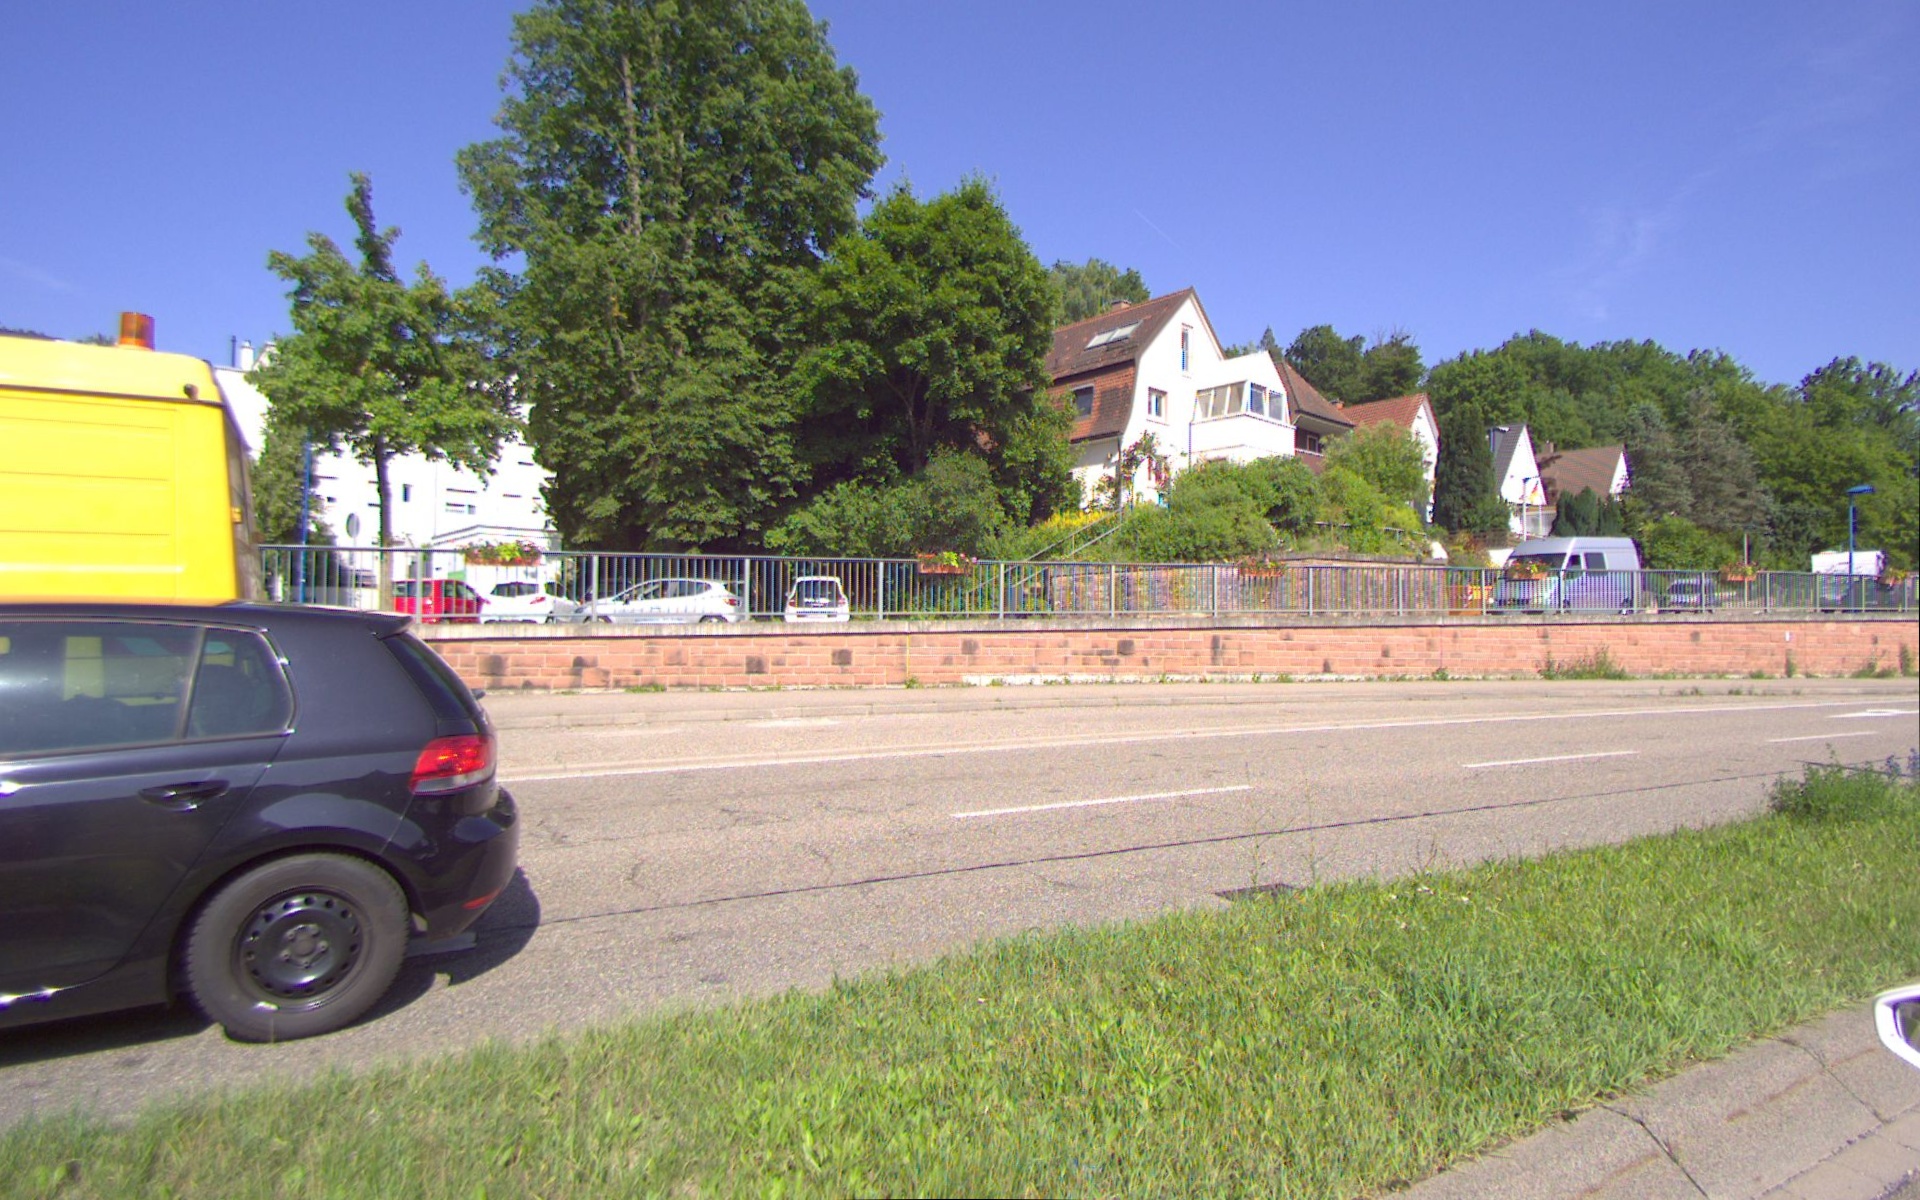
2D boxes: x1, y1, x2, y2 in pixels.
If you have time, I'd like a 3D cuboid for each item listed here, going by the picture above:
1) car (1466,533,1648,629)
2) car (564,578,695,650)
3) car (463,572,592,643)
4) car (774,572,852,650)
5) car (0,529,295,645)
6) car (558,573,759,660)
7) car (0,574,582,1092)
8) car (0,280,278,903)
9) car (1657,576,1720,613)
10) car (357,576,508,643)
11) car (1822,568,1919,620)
[{"bbox_3d":[16.851,-0.514,28.240,5.723,2.477,2.080,0,2,-34],"label":"car"},{"bbox_3d":[-8.450,0.288,26.067,1.960,1.694,4.000,1,1,1],"label":"car"},{"bbox_3d":[-11.294,0.129,26.566,1.877,1.724,3.997,0,2,-4],"label":"car"},{"bbox_3d":[-3.873,0.226,26.697,1.879,1.901,3.994,1,1,-8],"label":"car"},{"bbox_3d":[-11.707,-0.213,14.261,1.876,1.400,3.999,1,1,-1],"label":"car"},{"bbox_3d":[-6.708,0.365,22.699,3.921,1.813,1.922,1,-1,0],"label":"car"},{"bbox_3d":[-3.551,0.664,3.390,3.999,1.482,1.736,1,-1,-32],"label":"car"},{"bbox_3d":[-7.157,-0.112,4.736,6.398,3.051,2.452,2,1,-34],"label":"car"},{"bbox_3d":[35.417,-0.238,48.795,3.974,1.651,1.876,1,-1,-45],"label":"car"},{"bbox_3d":[-13.695,0.185,26.376,1.876,1.581,3.999,1,1,-1],"label":"car"},{"bbox_3d":[36.003,-0.248,39.568,4.684,1.946,2.007,0,2,-35],"label":"car"}]
